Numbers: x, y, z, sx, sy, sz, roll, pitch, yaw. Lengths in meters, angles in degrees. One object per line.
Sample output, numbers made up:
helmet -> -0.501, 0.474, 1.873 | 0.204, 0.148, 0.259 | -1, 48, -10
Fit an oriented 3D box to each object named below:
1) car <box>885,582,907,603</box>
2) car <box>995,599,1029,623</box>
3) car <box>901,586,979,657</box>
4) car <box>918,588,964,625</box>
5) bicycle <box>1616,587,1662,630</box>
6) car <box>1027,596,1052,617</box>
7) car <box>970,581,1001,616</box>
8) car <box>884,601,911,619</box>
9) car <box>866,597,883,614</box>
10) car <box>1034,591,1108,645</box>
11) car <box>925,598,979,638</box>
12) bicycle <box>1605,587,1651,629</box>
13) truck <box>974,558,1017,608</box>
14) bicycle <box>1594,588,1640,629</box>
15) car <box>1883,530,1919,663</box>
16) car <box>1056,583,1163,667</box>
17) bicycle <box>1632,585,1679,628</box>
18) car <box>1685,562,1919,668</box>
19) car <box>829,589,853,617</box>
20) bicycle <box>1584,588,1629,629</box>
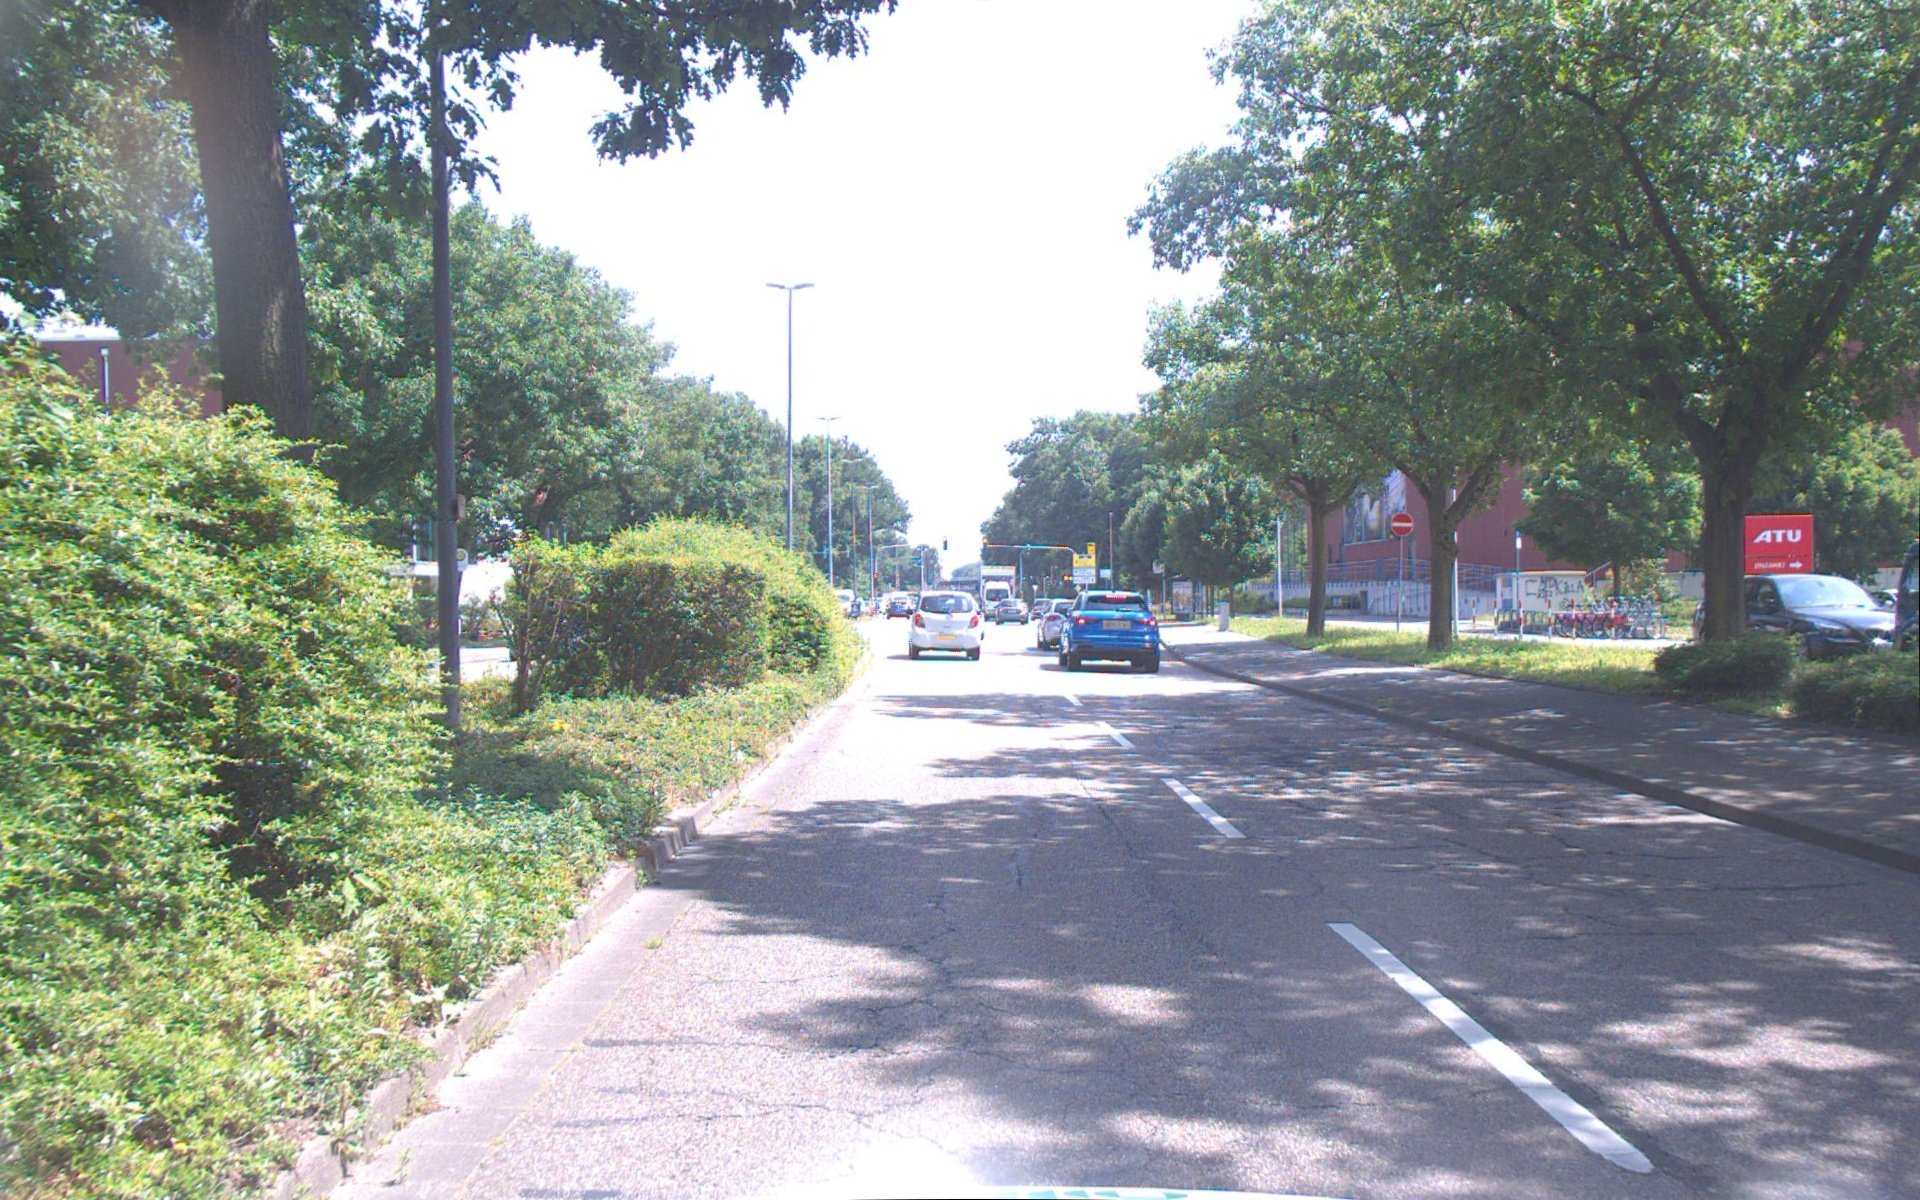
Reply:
car -> -6.690, -0.787, 173.093 | 1.952, 2.049, 4.000 | -1, 0, 1
car -> 3.044, 0.641, 97.531 | 1.828, 1.333, 3.999 | -2, 0, -1
car -> -0.497, 0.495, 38.469 | 1.606, 1.579, 3.322 | 0, -1, -5
car -> -0.873, 0.286, 72.498 | 1.759, 1.550, 3.996 | 0, -1, -4
bicycle -> 17.964, 0.218, 43.754 | 1.066, 1.104, 0.347 | -1, 0, 0
car -> 5.863, 0.445, 122.793 | 1.600, 1.489, 3.999 | -1, 0, -1
car -> 1.739, -0.089, 113.247 | 1.953, 2.295, 3.999 | -1, 0, -1
car -> -4.847, 0.742, 128.066 | 1.953, 1.310, 3.999 | -1, 0, -1
car -> -6.918, 0.415, 134.275 | 1.341, 1.331, 2.692 | -1, 0, -3
car -> 3.160, 0.514, 47.810 | 1.828, 1.499, 3.999 | 0, -1, -1
car -> -0.284, 0.638, 58.917 | 1.846, 1.378, 3.999 | 0, -1, 0
bicycle -> 18.007, 0.225, 44.586 | 1.066, 1.104, 0.347 | -1, 0, 0
truck -> 2.625, -1.258, 123.637 | 2.872, 3.564, 9.156 | -1, 0, -1
bicycle -> 17.972, 0.231, 45.253 | 1.066, 1.104, 0.407 | -1, 0, 0
car -> 12.846, -0.061, 19.596 | 1.665, 1.666, 3.906 | -1, -1, 1
car -> 3.009, 0.505, 34.066 | 1.772, 1.621, 4.348 | 0, -1, -1
bicycle -> 18.131, 0.172, 43.140 | 1.066, 1.104, 0.347 | -1, 0, 0
car -> 12.819, 0.222, 25.197 | 1.665, 1.449, 4.655 | -1, 0, 3
car -> -10.032, 0.296, 139.636 | 1.743, 2.322, 4.752 | 0, -1, 0
bicycle -> 17.959, 0.237, 45.926 | 1.066, 1.104, 0.407 | -1, 0, 0
